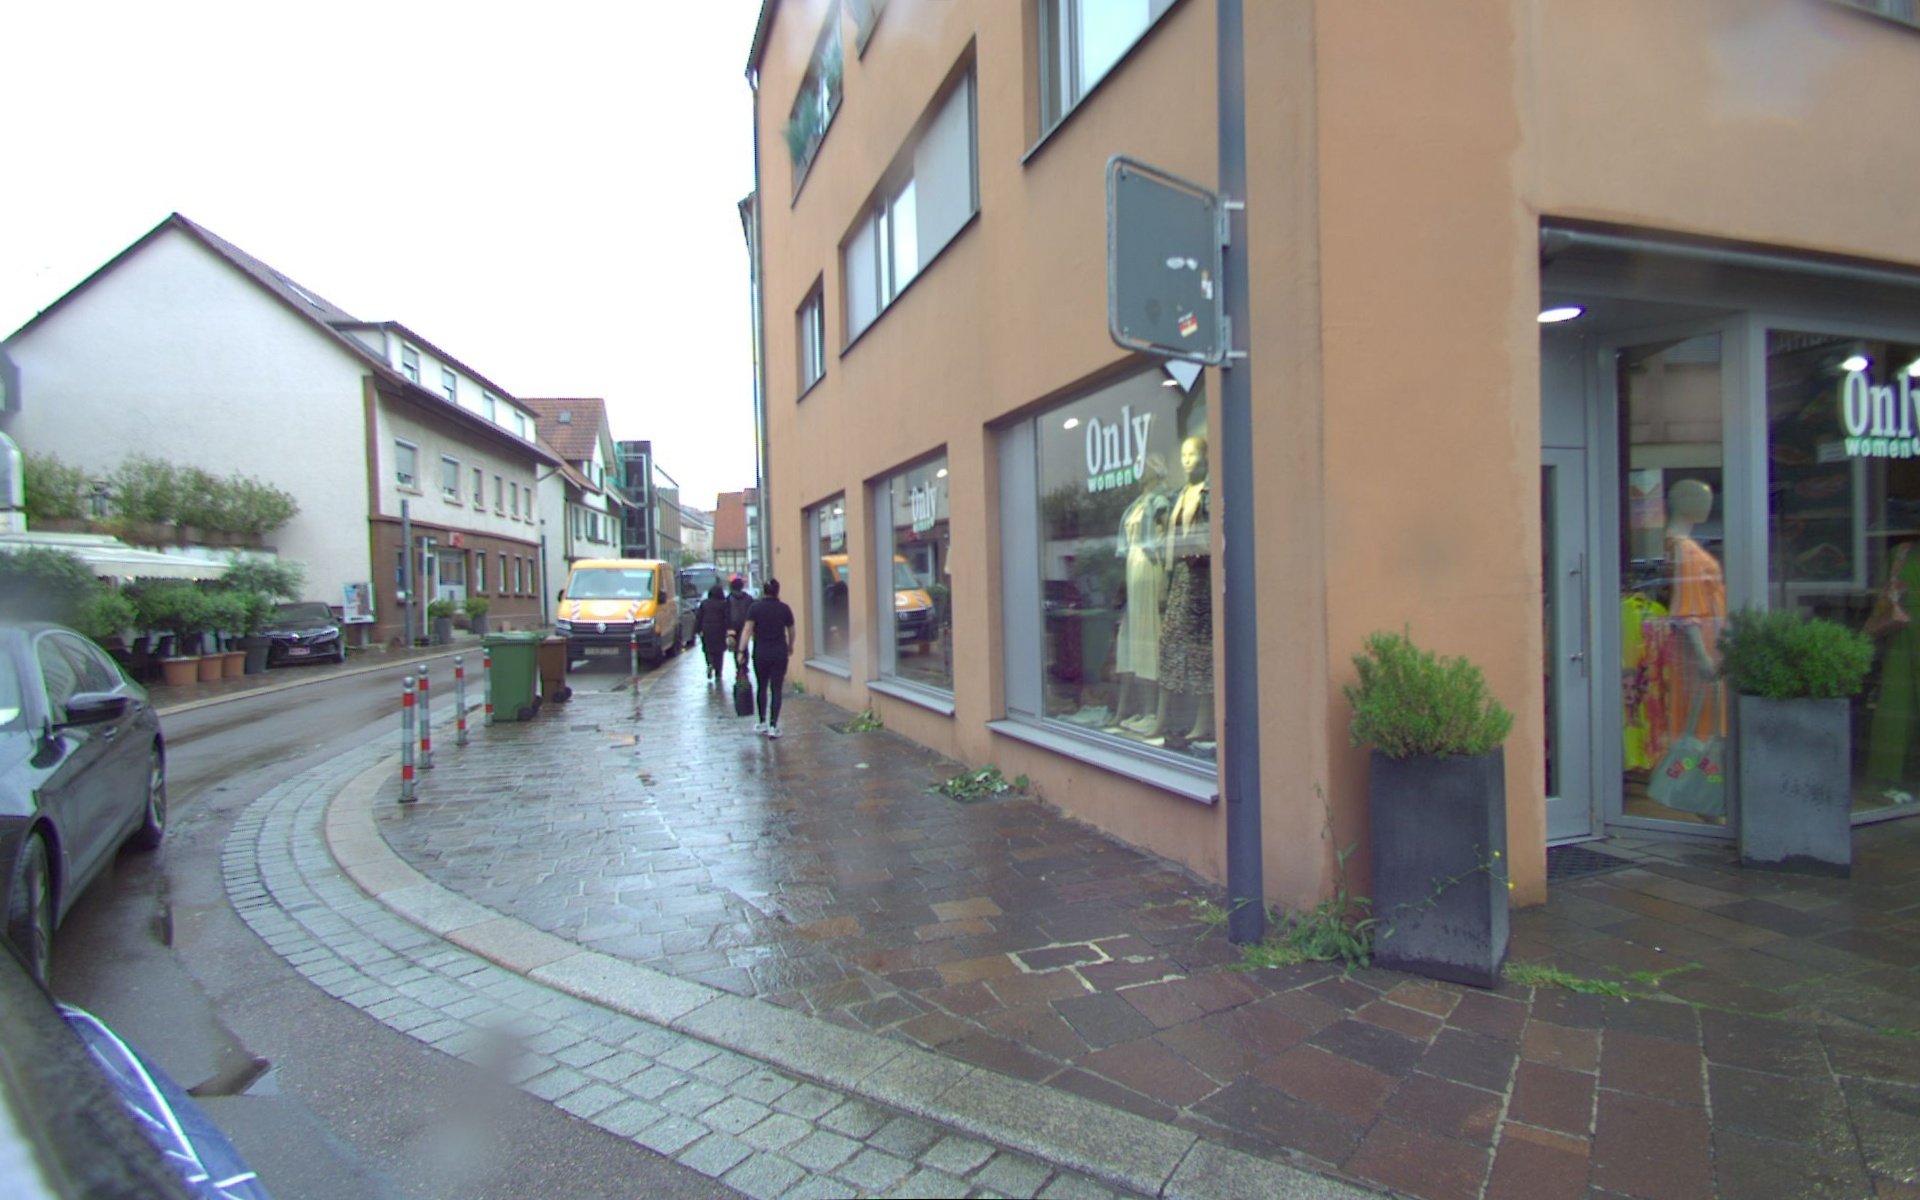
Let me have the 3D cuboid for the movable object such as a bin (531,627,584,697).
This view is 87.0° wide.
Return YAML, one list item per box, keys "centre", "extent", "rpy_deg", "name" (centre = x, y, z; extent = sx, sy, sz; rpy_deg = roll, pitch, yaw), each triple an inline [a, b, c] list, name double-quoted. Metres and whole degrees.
- centre: [-5.815, 0.886, 14.626]
  extent: [0.574, 0.934, 0.482]
  rpy_deg: [-3, 1, -9]
  name: "movable object such as a bin"

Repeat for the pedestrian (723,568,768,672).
- centre: [-3.719, 0.338, 17.536]
  extent: [0.614, 1.725, 0.811]
  rpy_deg: [-3, 1, -17]
  name: "pedestrian"

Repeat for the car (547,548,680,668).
- centre: [-7.458, 0.122, 22.375]
  extent: [1.967, 2.256, 5.875]
  rpy_deg: [-1, 1, -11]
  name: "car"

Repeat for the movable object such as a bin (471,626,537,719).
- centre: [-5.508, 0.859, 12.248]
  extent: [0.647, 1.044, 0.612]
  rpy_deg: [-2, 1, -18]
  name: "movable object such as a bin"

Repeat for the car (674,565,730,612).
- centre: [-17.368, -0.678, 68.606]
  extent: [2.669, 2.895, 8.859]
  rpy_deg: [-2, 0, -8]
  name: "car"

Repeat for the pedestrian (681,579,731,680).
- centre: [-4.351, 0.484, 17.308]
  extent: [0.705, 1.651, 0.748]
  rpy_deg: [-3, 1, -17]
  name: "pedestrian"

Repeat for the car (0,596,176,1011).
- centre: [-5.241, 0.724, 4.795]
  extent: [1.915, 1.413, 4.433]
  rpy_deg: [-2, 1, -32]
  name: "car"

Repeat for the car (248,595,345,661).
- centre: [-15.260, 0.590, 23.404]
  extent: [1.709, 1.367, 3.948]
  rpy_deg: [-1, 1, -32]
  name: "car"

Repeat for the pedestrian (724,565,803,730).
- centre: [-2.031, 0.468, 10.418]
  extent: [0.650, 1.622, 0.686]
  rpy_deg: [-2, 0, -20]
  name: "pedestrian"

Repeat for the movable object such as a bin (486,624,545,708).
- centre: [-5.891, 0.859, 13.431]
  extent: [0.647, 1.044, 0.612]
  rpy_deg: [-1, 1, -18]
  name: "movable object such as a bin"
